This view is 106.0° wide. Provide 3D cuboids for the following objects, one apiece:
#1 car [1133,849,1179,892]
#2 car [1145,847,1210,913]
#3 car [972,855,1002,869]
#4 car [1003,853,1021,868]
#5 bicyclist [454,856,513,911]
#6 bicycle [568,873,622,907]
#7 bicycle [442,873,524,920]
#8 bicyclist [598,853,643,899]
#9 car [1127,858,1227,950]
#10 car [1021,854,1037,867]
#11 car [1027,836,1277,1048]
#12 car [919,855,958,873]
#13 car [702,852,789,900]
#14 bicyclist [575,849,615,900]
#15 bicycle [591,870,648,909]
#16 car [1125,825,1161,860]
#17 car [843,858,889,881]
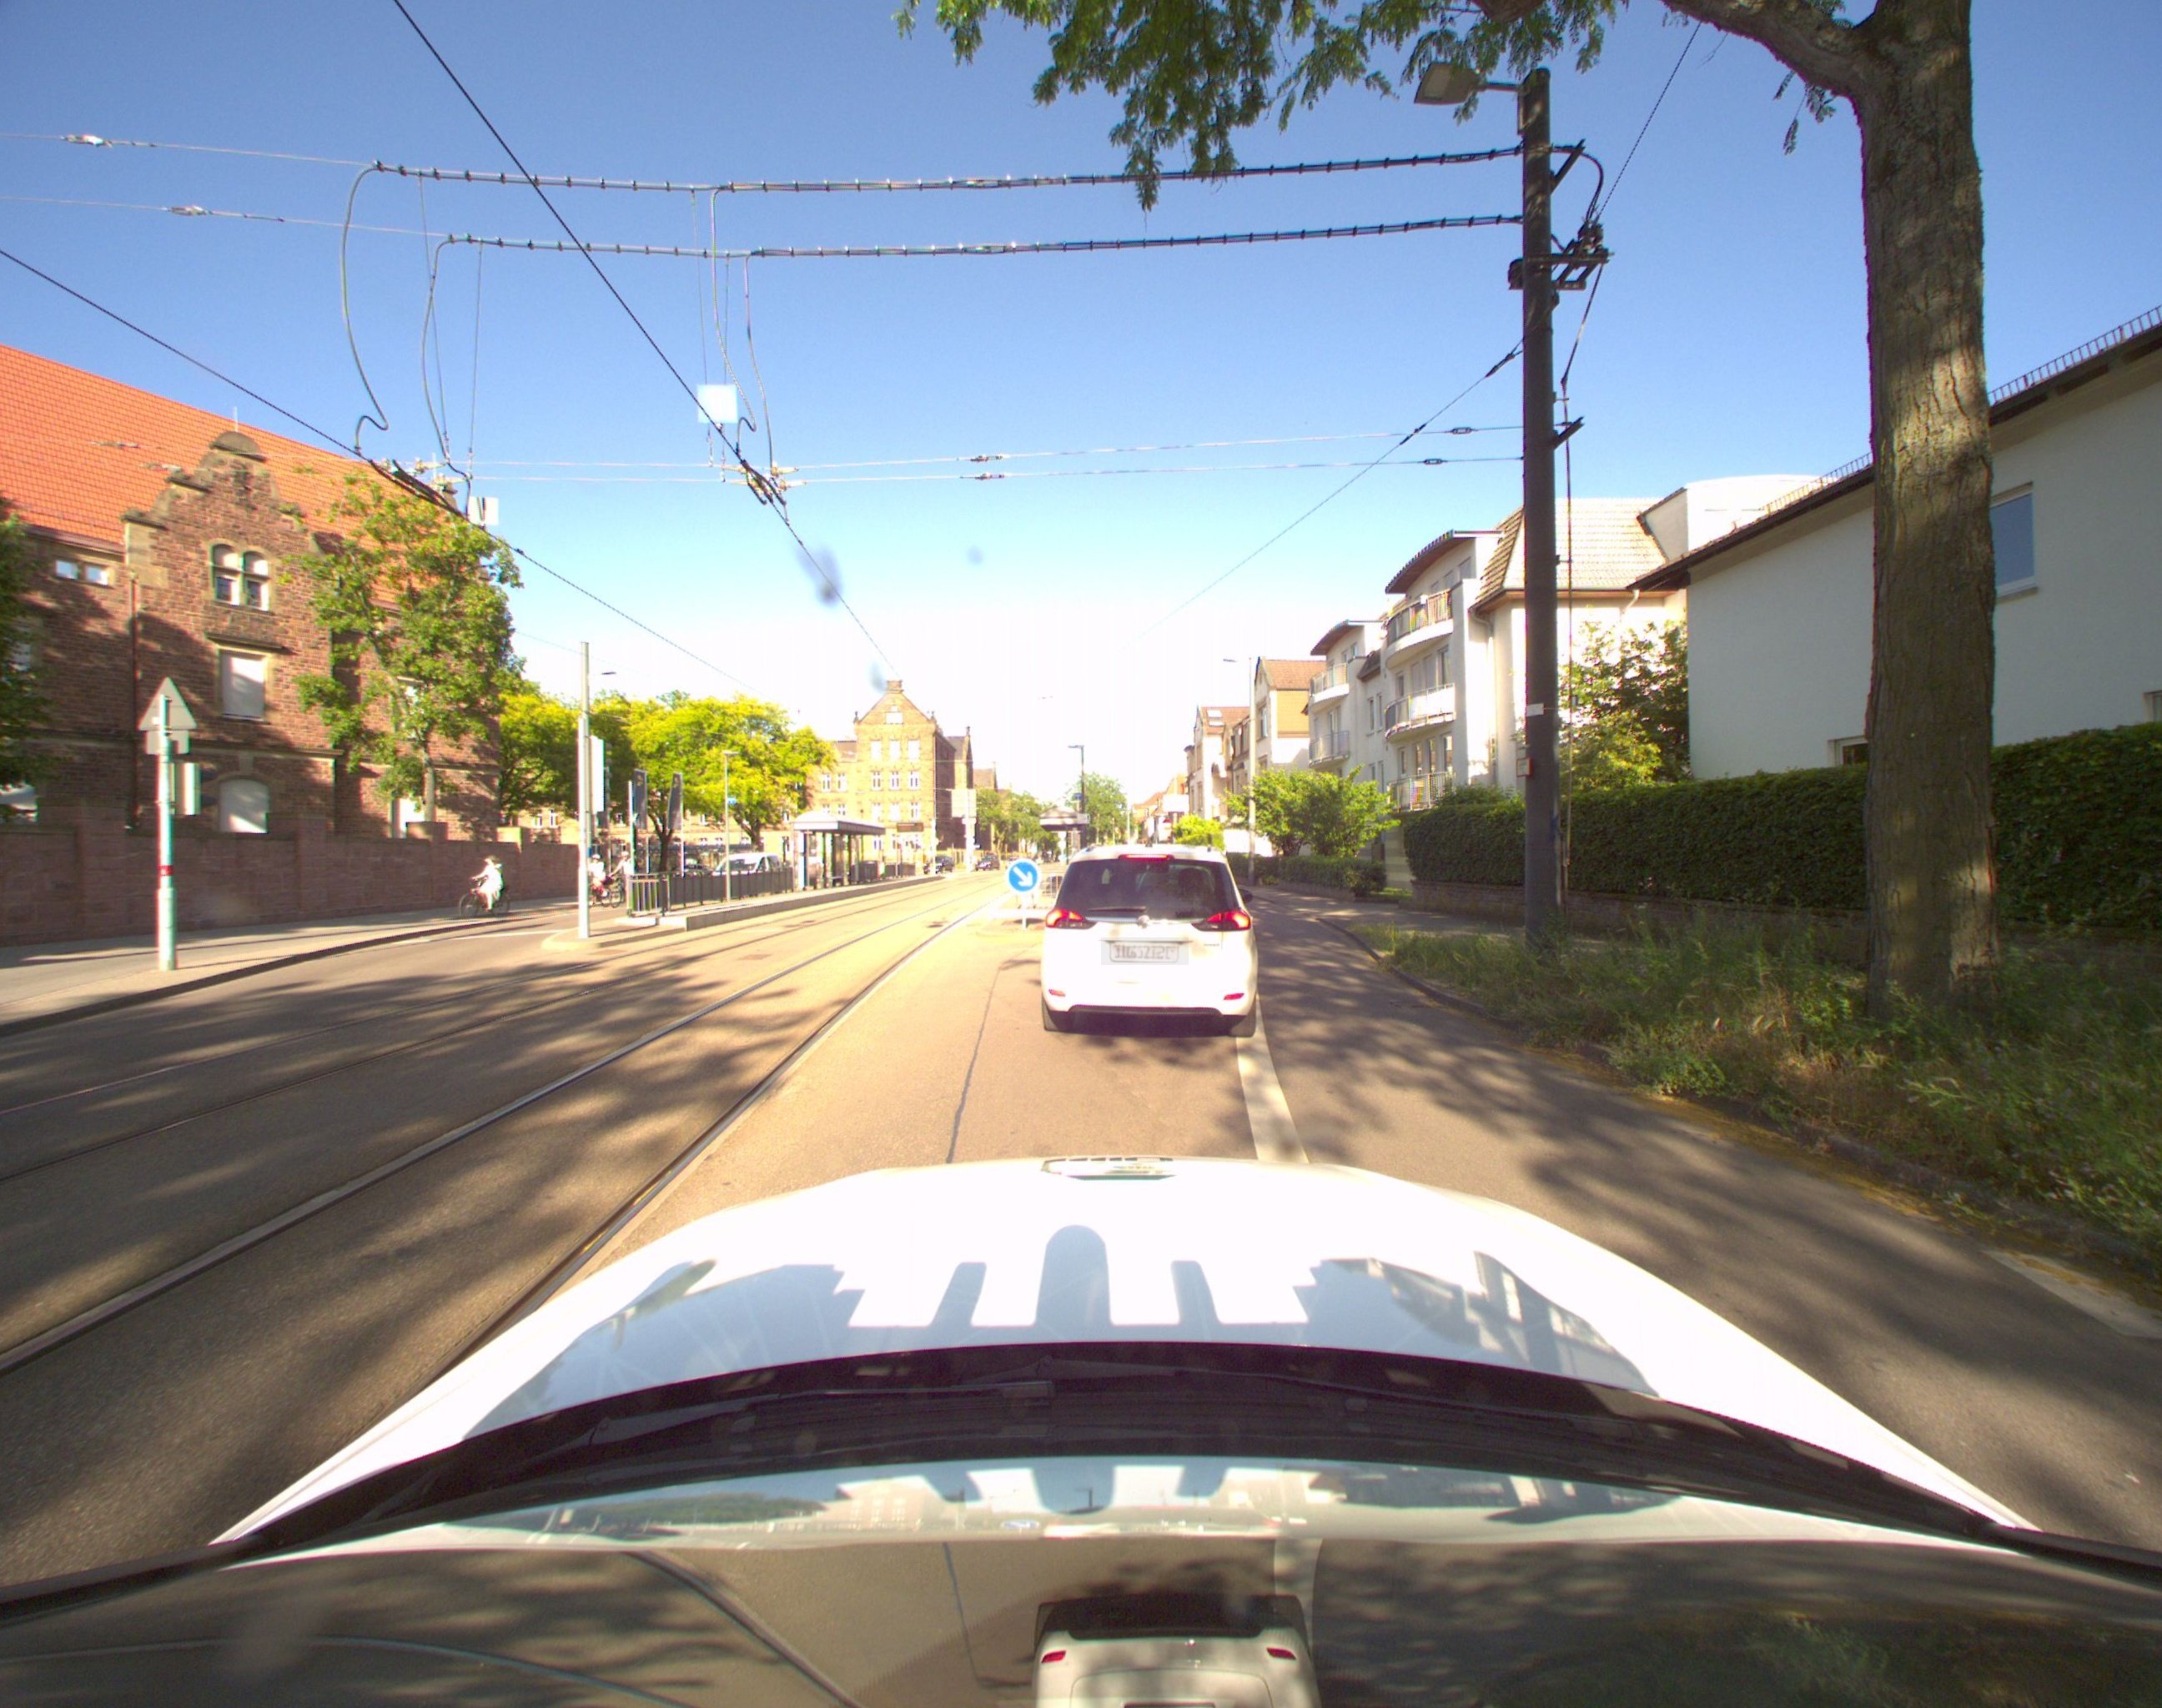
[{"bbox_3d":[3.017,0.646,33.350,1.590,1.635,3.903,1,0,2],"label":"car"},{"bbox_3d":[2.544,0.641,22.090,1.562,1.614,3.788,1,0,4],"label":"car"},{"bbox_3d":[-9.949,0.871,86.614,1.814,1.446,4.342,-1,-1,12],"label":"car"},{"bbox_3d":[-8.494,0.794,100.797,1.821,1.788,4.325,-1,-1,-1],"label":"car"},{"bbox_3d":[-16.578,0.799,22.628,0.754,1.471,1.190,0,-1,0],"label":"bicyclist"},{"bbox_3d":[-16.622,1.210,27.889,0.667,1.072,2.014,0,0,-1],"label":"bicycle"},{"bbox_3d":[-16.576,1.151,22.640,0.812,1.198,1.952,0,0,0],"label":"bicycle"},{"bbox_3d":[-15.747,0.735,27.869,0.758,1.536,1.347,-1,0,-2],"label":"bicyclist"},{"bbox_3d":[1.774,0.805,14.867,1.560,1.401,3.792,1,0,7],"label":"car"},{"bbox_3d":[-8.109,1.050,127.156,1.985,2.014,4.003,0,-1,3],"label":"car"},{"bbox_3d":[0.784,0.671,8.190,1.868,1.585,4.008,-1,0,7],"label":"car"},{"bbox_3d":[-12.717,0.898,73.008,1.814,1.617,4.342,-1,-1,13],"label":"car"},{"bbox_3d":[-13.459,0.833,32.967,1.822,1.788,4.252,-1,0,-2],"label":"car"},{"bbox_3d":[-16.625,0.689,27.904,0.648,1.674,1.232,0,1,-1],"label":"bicyclist"},{"bbox_3d":[-15.745,1.188,27.851,0.775,1.231,2.087,-1,0,-2],"label":"bicycle"},{"bbox_3d":[3.040,-0.567,40.386,1.590,1.635,3.903,1,1,2],"label":"car"},{"bbox_3d":[-14.274,1.013,54.341,1.792,1.382,4.495,-1,0,0],"label":"car"}]
